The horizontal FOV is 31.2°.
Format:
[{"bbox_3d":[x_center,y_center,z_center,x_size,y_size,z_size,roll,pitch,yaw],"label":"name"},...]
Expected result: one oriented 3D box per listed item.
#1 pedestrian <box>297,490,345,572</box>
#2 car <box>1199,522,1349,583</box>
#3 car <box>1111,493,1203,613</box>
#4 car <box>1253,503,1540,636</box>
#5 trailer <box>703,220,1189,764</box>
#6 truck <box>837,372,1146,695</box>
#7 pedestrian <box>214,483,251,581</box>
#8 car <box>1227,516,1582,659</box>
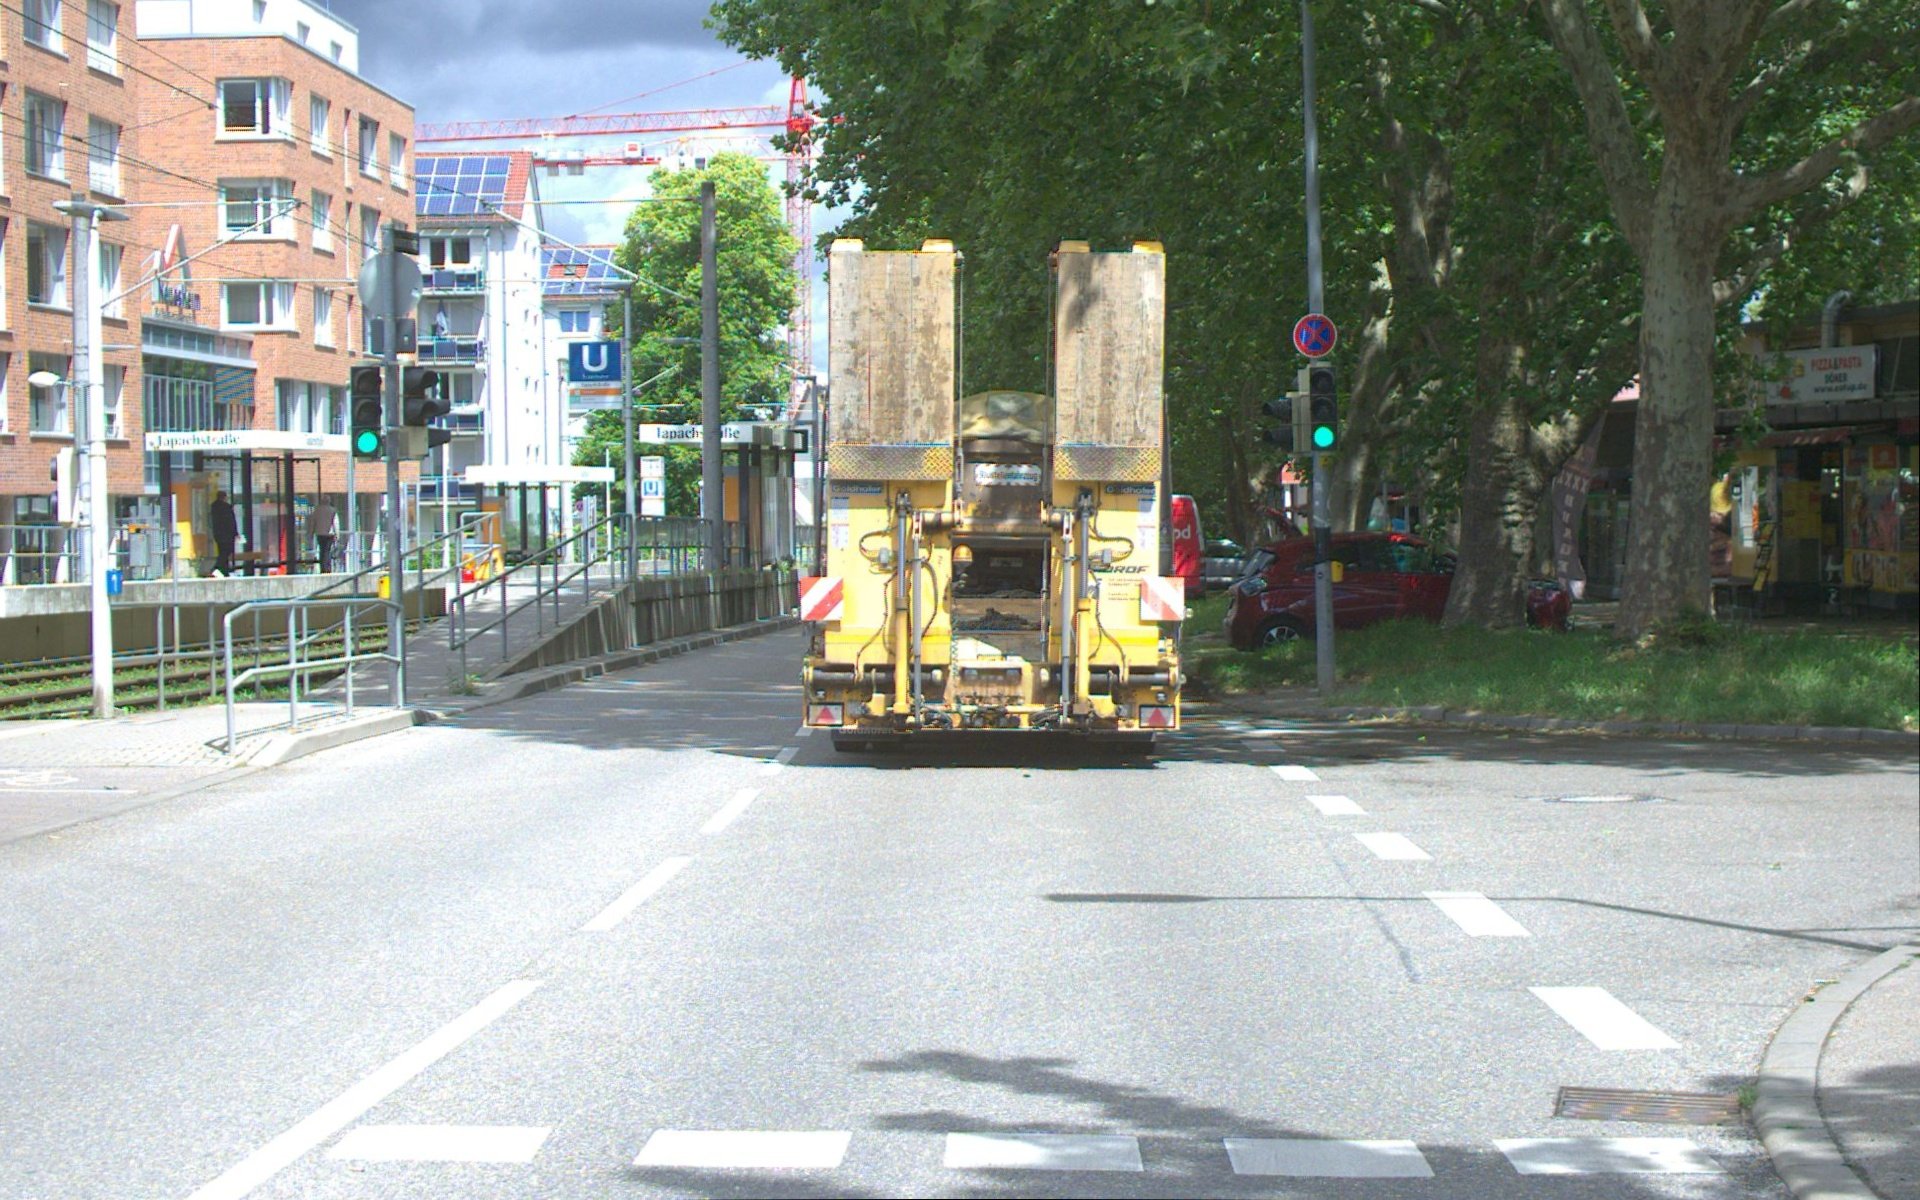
[{"bbox_3d":[-12.813,-1.374,68.942,0.751,1.623,0.816,1,1,2],"label":"pedestrian"},{"bbox_3d":[8.602,-1.299,94.313,3.829,1.557,1.620,-1,1,-4],"label":"car"},{"bbox_3d":[4.477,-1.073,78.966,1.904,2.572,6.833,-2,1,2],"label":"car"},{"bbox_3d":[5.639,-0.395,44.647,3.406,1.509,1.610,-3,1,-2],"label":"car"},{"bbox_3d":[0.110,-0.797,28.184,3.154,3.540,11.096,1,1,2],"label":"trailer"},{"bbox_3d":[0.471,-0.713,37.684,2.989,3.124,7.887,1,1,2],"label":"truck"},{"bbox_3d":[-13.206,-1.234,62.424,0.534,1.757,0.528,-1,1,-1],"label":"pedestrian"},{"bbox_3d":[5.158,-0.154,40.281,4.030,1.606,1.730,-1,1,5],"label":"car"}]
